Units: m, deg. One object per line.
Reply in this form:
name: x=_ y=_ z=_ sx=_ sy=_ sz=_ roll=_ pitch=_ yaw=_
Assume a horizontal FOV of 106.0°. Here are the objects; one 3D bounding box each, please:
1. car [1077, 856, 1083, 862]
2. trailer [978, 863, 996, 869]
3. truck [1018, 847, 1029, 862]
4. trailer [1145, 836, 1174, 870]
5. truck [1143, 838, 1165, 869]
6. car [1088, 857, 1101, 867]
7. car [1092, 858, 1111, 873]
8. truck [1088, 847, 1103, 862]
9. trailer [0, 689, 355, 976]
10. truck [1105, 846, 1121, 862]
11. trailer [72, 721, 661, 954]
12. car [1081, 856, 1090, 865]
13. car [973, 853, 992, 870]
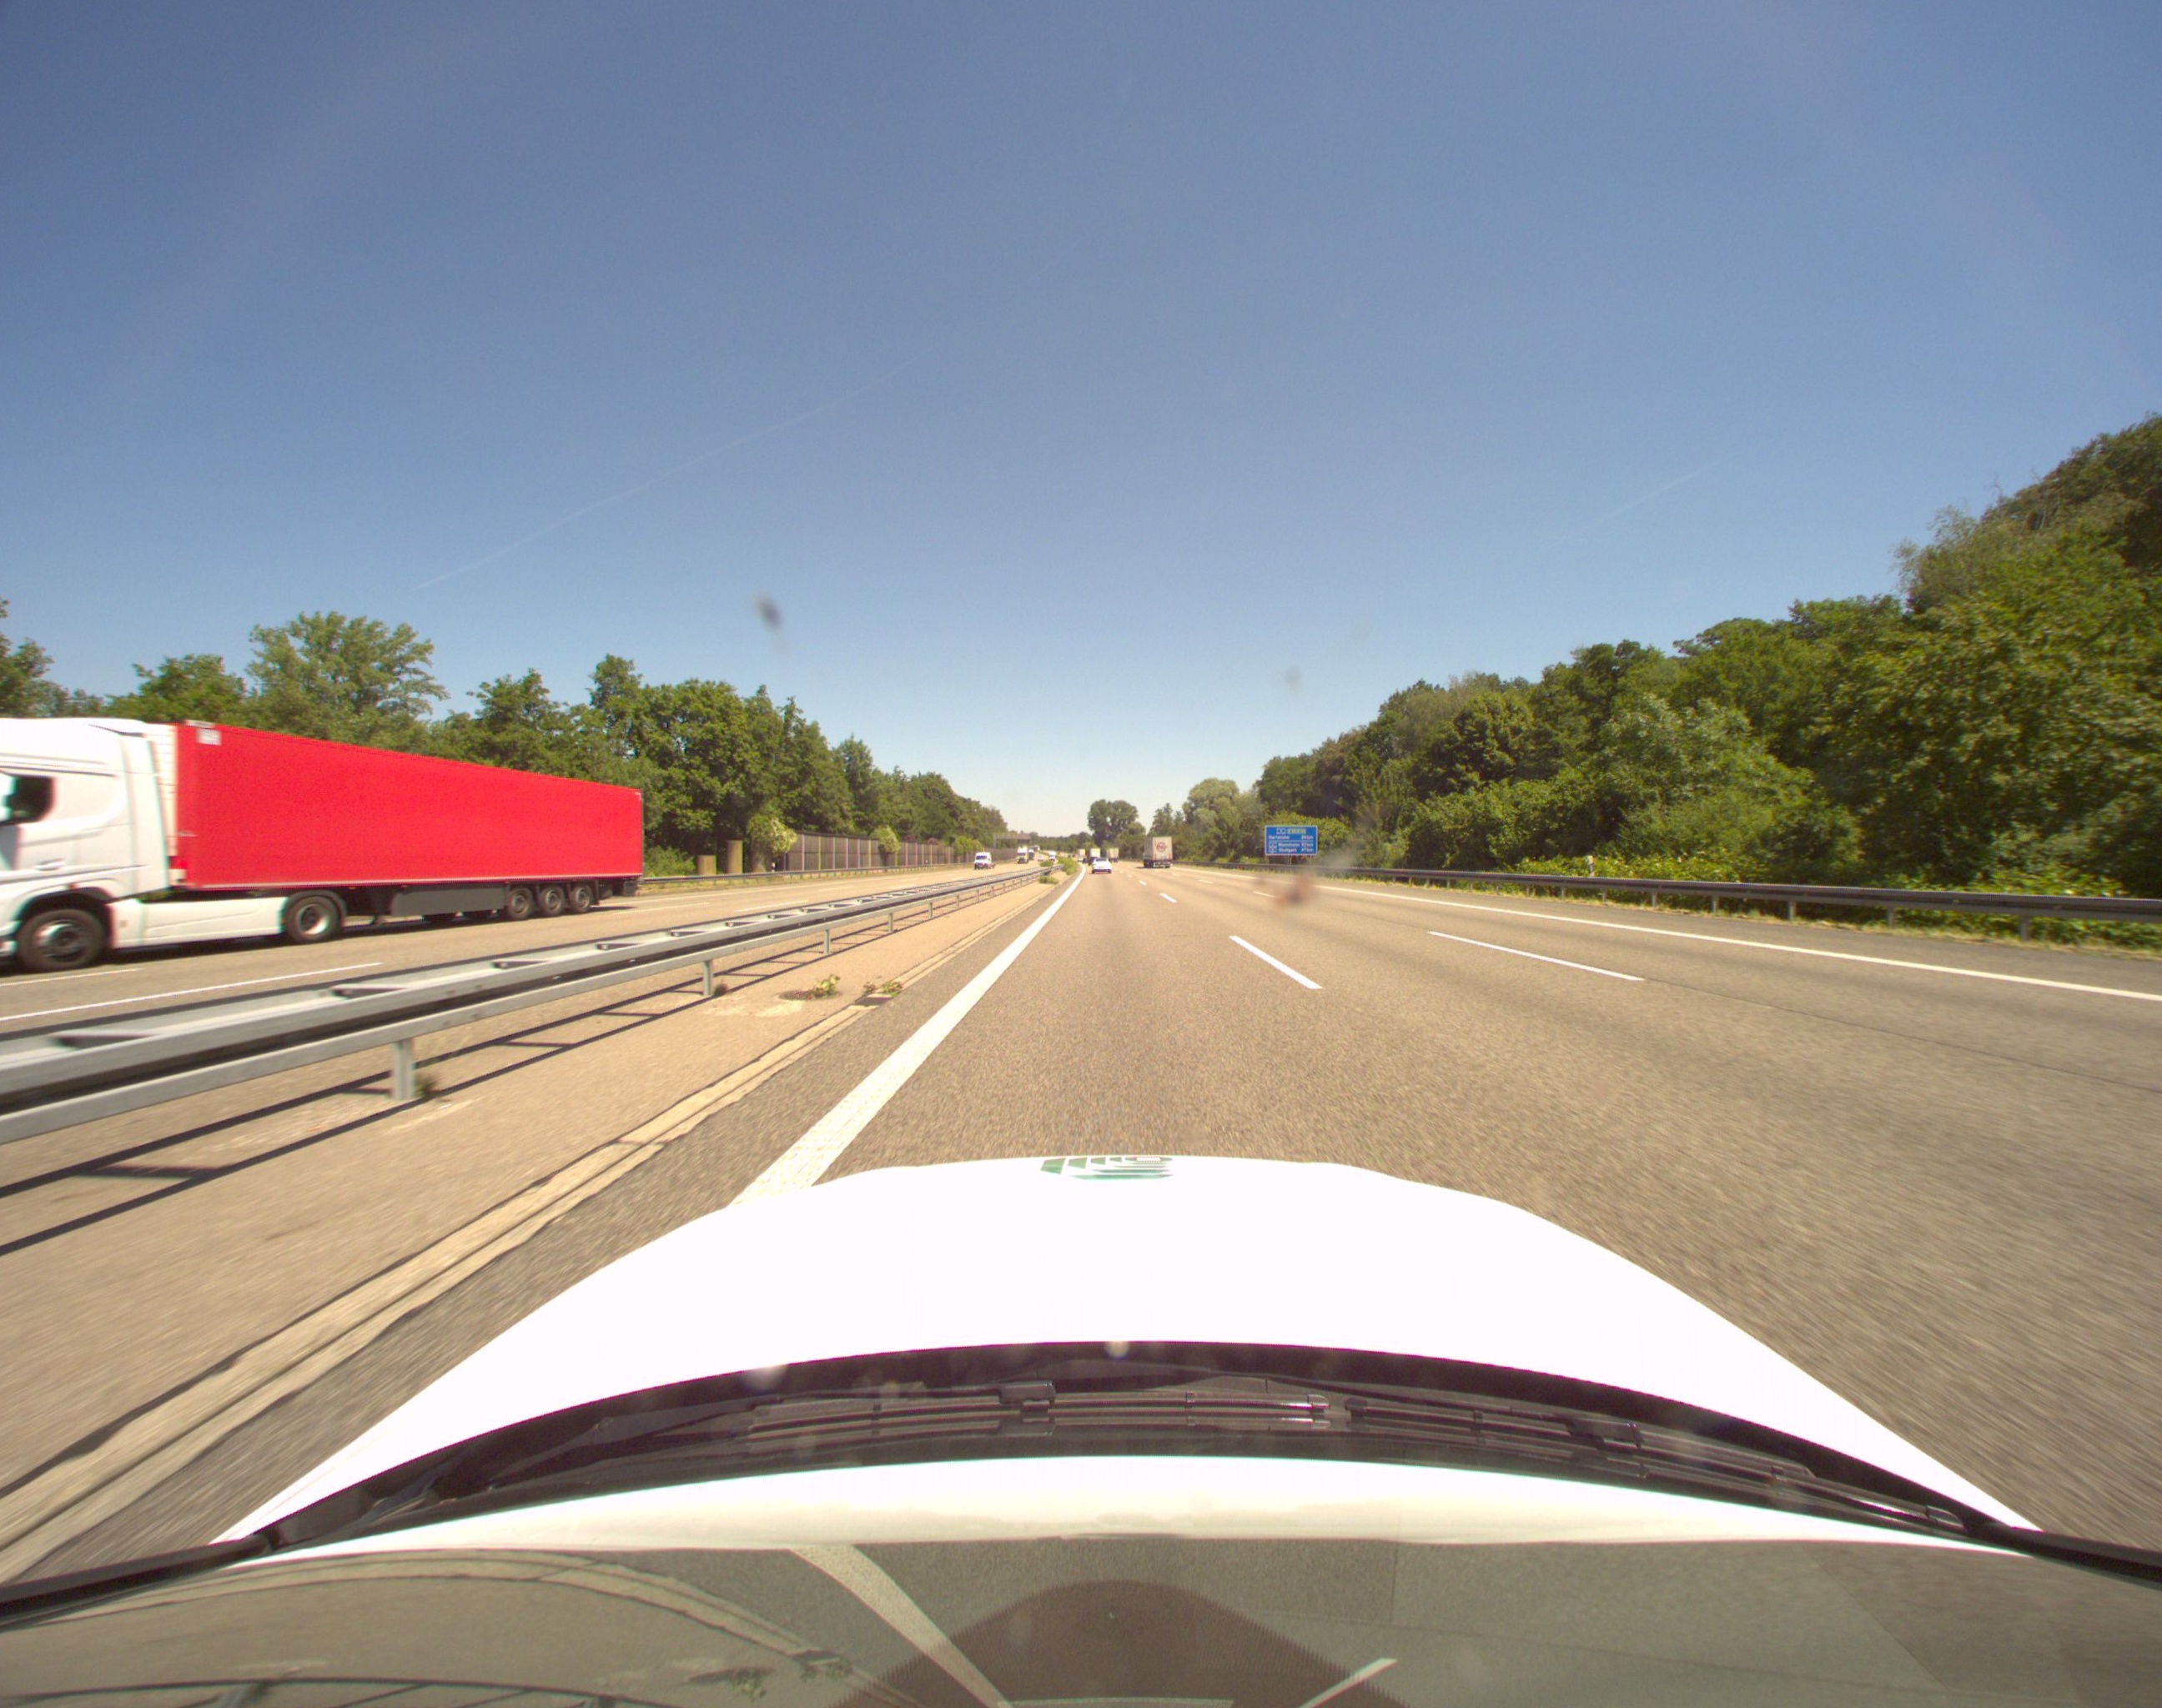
car: x=-0.283 y=1.420 z=252.670 sx=1.720 sy=1.783 sz=3.994 roll=-1 pitch=0 yaw=-4
trailer: x=-14.307 y=1.772 z=124.345 sx=2.155 sy=0.807 sz=6.277 roll=-1 pitch=0 yaw=-1
truck: x=-15.588 y=0.142 z=222.572 sx=2.678 sy=3.895 sz=5.571 roll=-1 pitch=0 yaw=-1
trailer: x=10.298 y=-0.077 z=108.605 sx=2.615 sy=4.261 sz=14.060 roll=-1 pitch=0 yaw=0
truck: x=10.361 y=-0.068 z=116.111 sx=2.597 sy=4.287 sz=5.435 roll=-1 pitch=0 yaw=0
car: x=2.489 y=1.443 z=150.494 sx=1.989 sy=1.772 sz=3.996 roll=-1 pitch=0 yaw=-3
car: x=1.947 y=1.100 z=77.001 sx=1.709 sy=1.369 sz=3.376 roll=-1 pitch=0 yaw=1
truck: x=4.237 y=0.181 z=240.740 sx=3.352 sy=4.311 sz=10.815 roll=-1 pitch=0 yaw=-3
trailer: x=-16.506 y=-0.283 z=13.915 sx=2.679 sy=4.042 sz=6.037 roll=-1 pitch=0 yaw=1
truck: x=8.760 y=0.044 z=225.291 sx=3.483 sy=4.311 sz=10.979 roll=-1 pitch=0 yaw=-2
trailer: x=-16.252 y=-0.273 z=21.408 sx=2.673 sy=4.068 sz=14.057 roll=-1 pitch=0 yaw=2
car: x=1.078 y=1.600 z=200.171 sx=1.990 sy=2.013 sz=3.994 roll=-1 pitch=0 yaw=-4
car: x=-14.269 y=1.081 z=118.486 sx=2.017 sy=2.431 sz=5.413 roll=-1 pitch=0 yaw=1
